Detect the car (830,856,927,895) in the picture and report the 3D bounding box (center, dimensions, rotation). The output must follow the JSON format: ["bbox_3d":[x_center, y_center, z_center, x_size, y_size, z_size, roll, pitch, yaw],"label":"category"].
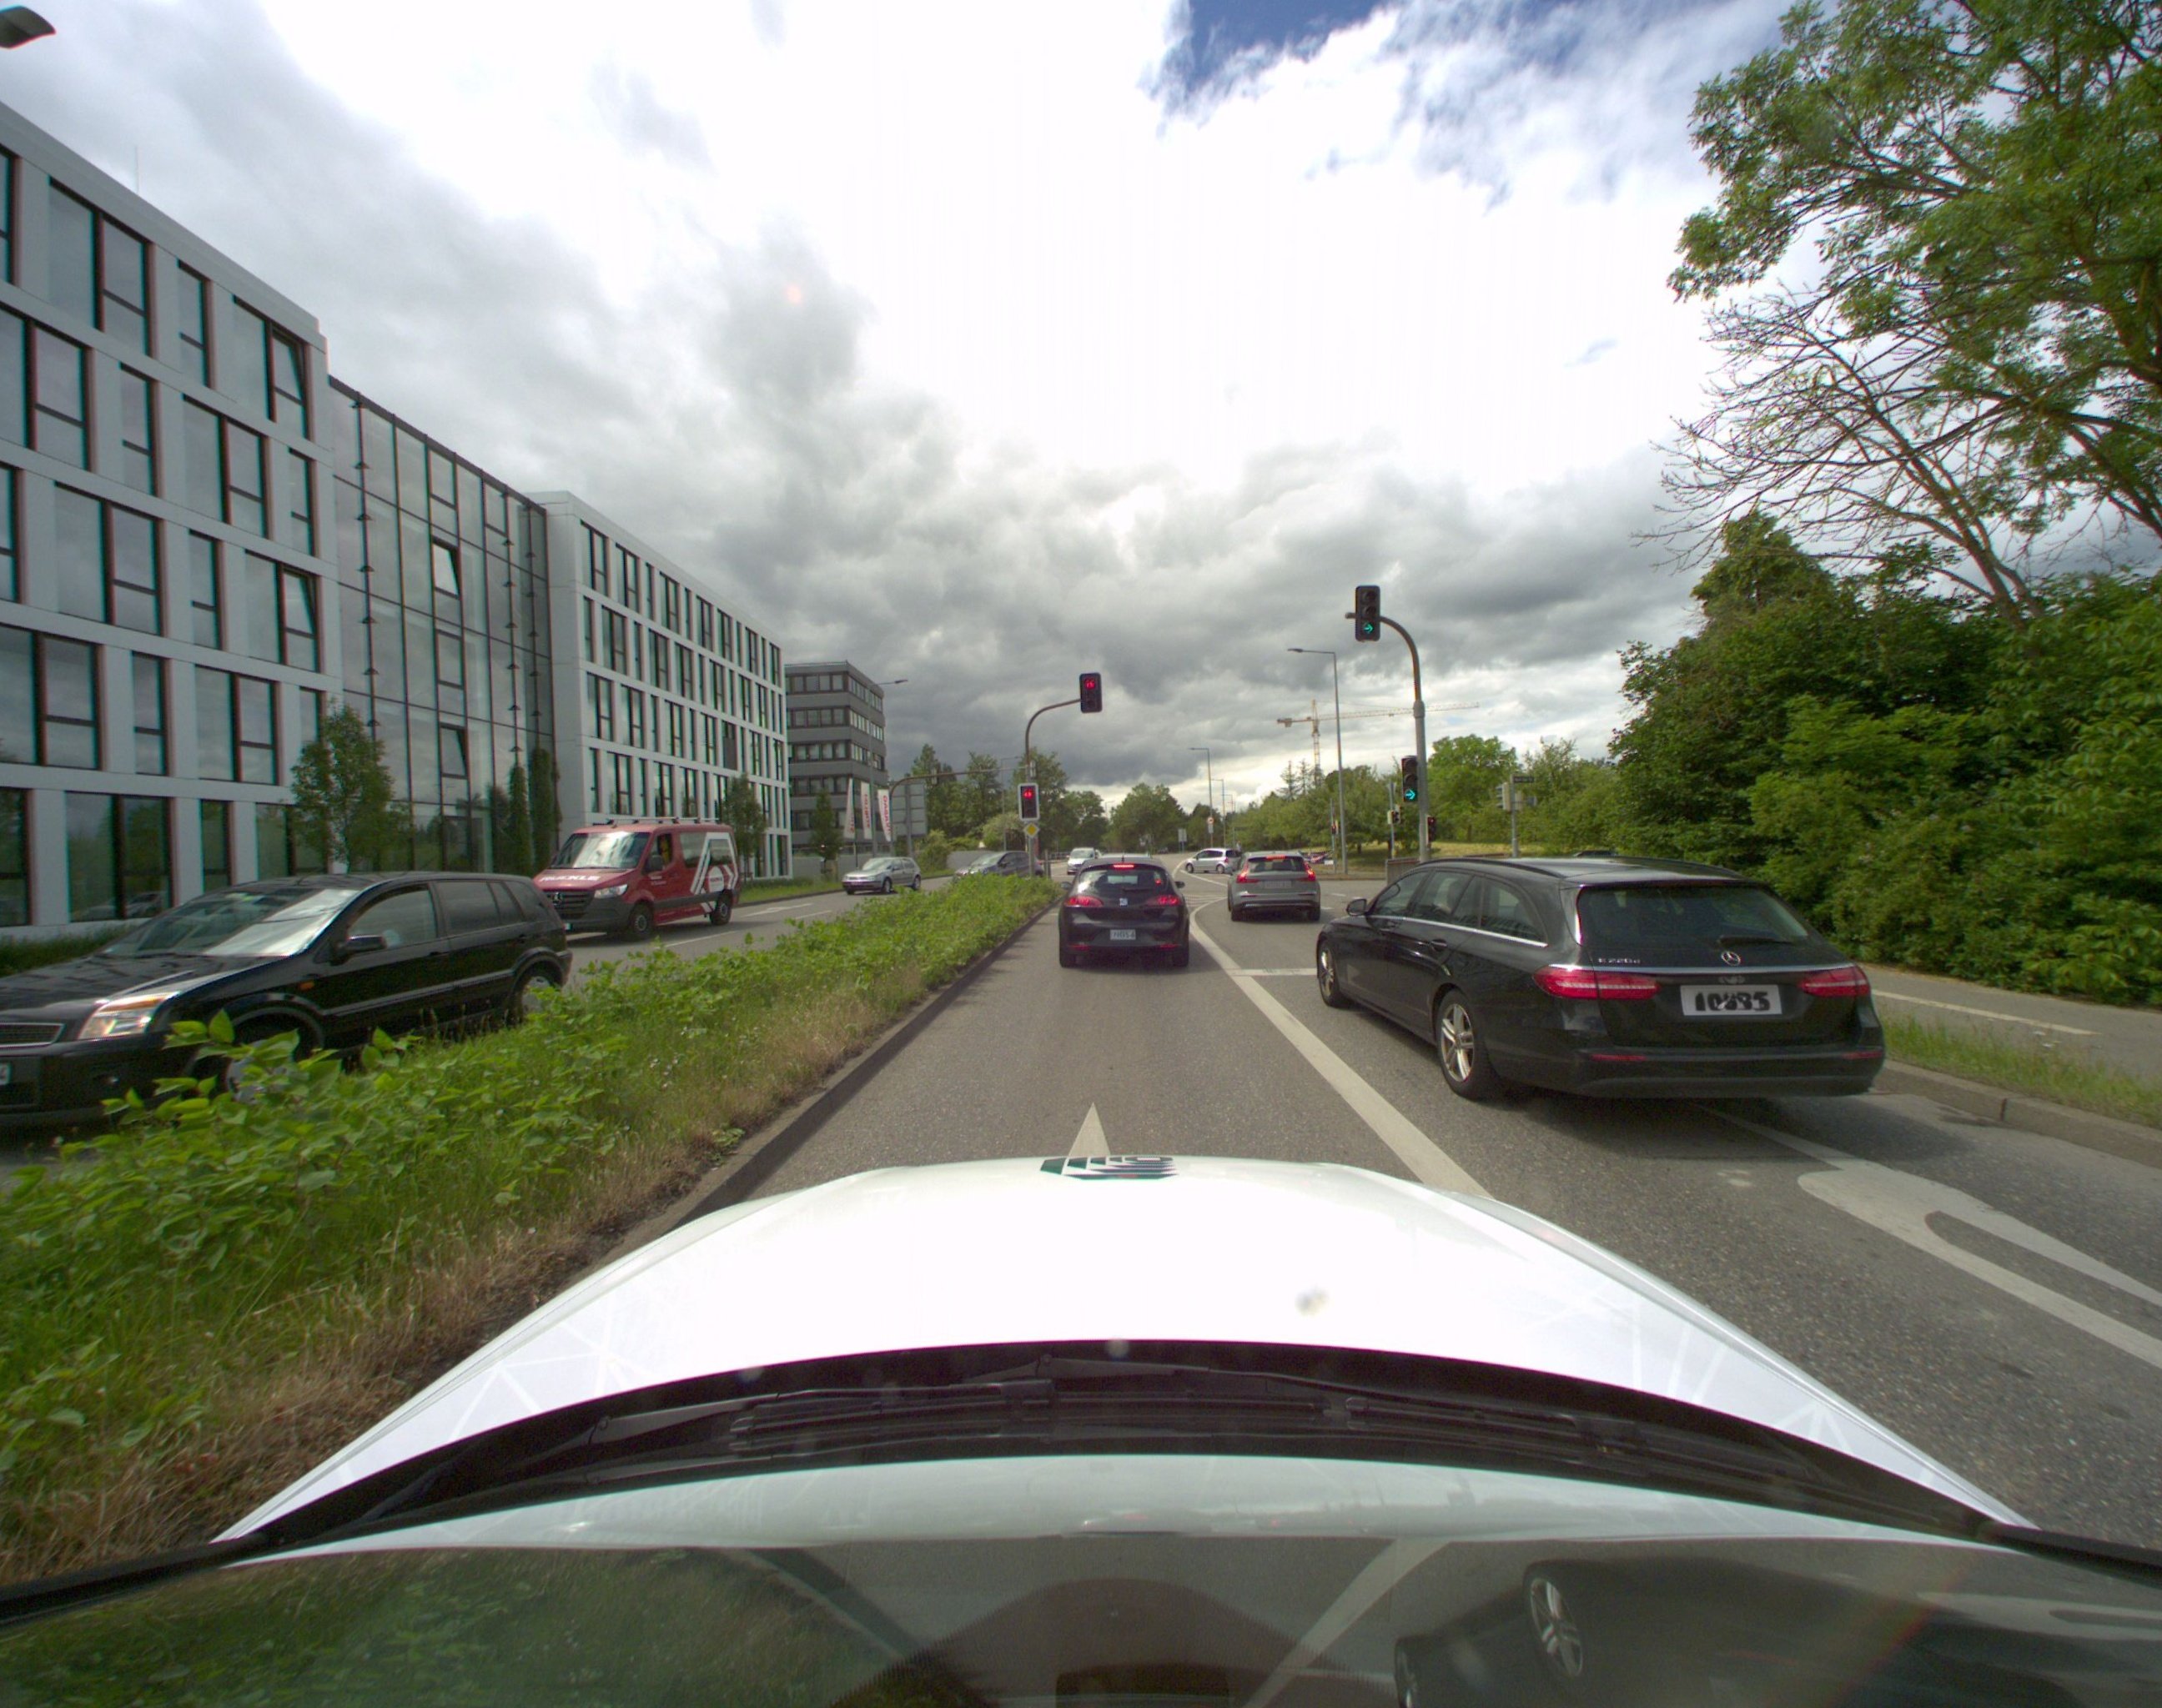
[{"bbox_3d":[-7.971,0.828,32.524,1.978,1.354,4.017,-2,0,16],"label":"car"}]

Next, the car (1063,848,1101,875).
[{"bbox_3d":[0.122,0.436,51.995,1.984,1.596,4.006,-2,0,5],"label":"car"}]

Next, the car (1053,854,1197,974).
[{"bbox_3d":[0.617,0.746,11.970,1.766,1.451,3.584,-1,0,2],"label":"car"}]

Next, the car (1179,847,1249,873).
[{"bbox_3d":[8.258,0.377,50.747,2.010,1.530,3.953,-2,0,-40],"label":"car"}]

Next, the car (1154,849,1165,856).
[{"bbox_3d":[16.342,-0.326,169.525,1.981,1.352,4.012,-1,0,10],"label":"car"}]

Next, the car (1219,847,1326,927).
[{"bbox_3d":[4.197,0.650,18.517,1.853,1.518,4.456,-3,0,7],"label":"car"}]

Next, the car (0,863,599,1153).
[{"bbox_3d":[-5.906,0.872,6.427,1.672,1.482,4.002,-2,0,2],"label":"car"}]

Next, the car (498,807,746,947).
[{"bbox_3d":[-9.197,0.401,17.014,1.986,2.412,5.243,-2,0,2],"label":"car"}]

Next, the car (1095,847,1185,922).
[{"bbox_3d":[1.263,0.622,18.902,1.767,1.491,3.582,-3,0,0],"label":"car"}]

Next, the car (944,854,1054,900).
[{"bbox_3d":[-3.091,0.847,31.435,1.916,1.516,4.026,-2,1,38],"label":"car"}]

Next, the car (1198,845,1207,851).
[{"bbox_3d":[27.985,-1.373,187.307,1.981,1.352,4.012,-1,0,10],"label":"car"}]

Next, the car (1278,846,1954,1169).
[{"bbox_3d":[3.191,0.714,6.479,1.867,1.440,5.197,-3,0,-1],"label":"car"}]

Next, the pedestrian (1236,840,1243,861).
[{"bbox_3d":[13.653,-0.305,70.176,0.556,1.726,0.588,-1,0,3],"label":"pedestrian"}]

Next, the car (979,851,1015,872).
[{"bbox_3d":[-5.882,0.527,57.653,1.986,1.352,4.002,-1,0,2],"label":"car"}]
